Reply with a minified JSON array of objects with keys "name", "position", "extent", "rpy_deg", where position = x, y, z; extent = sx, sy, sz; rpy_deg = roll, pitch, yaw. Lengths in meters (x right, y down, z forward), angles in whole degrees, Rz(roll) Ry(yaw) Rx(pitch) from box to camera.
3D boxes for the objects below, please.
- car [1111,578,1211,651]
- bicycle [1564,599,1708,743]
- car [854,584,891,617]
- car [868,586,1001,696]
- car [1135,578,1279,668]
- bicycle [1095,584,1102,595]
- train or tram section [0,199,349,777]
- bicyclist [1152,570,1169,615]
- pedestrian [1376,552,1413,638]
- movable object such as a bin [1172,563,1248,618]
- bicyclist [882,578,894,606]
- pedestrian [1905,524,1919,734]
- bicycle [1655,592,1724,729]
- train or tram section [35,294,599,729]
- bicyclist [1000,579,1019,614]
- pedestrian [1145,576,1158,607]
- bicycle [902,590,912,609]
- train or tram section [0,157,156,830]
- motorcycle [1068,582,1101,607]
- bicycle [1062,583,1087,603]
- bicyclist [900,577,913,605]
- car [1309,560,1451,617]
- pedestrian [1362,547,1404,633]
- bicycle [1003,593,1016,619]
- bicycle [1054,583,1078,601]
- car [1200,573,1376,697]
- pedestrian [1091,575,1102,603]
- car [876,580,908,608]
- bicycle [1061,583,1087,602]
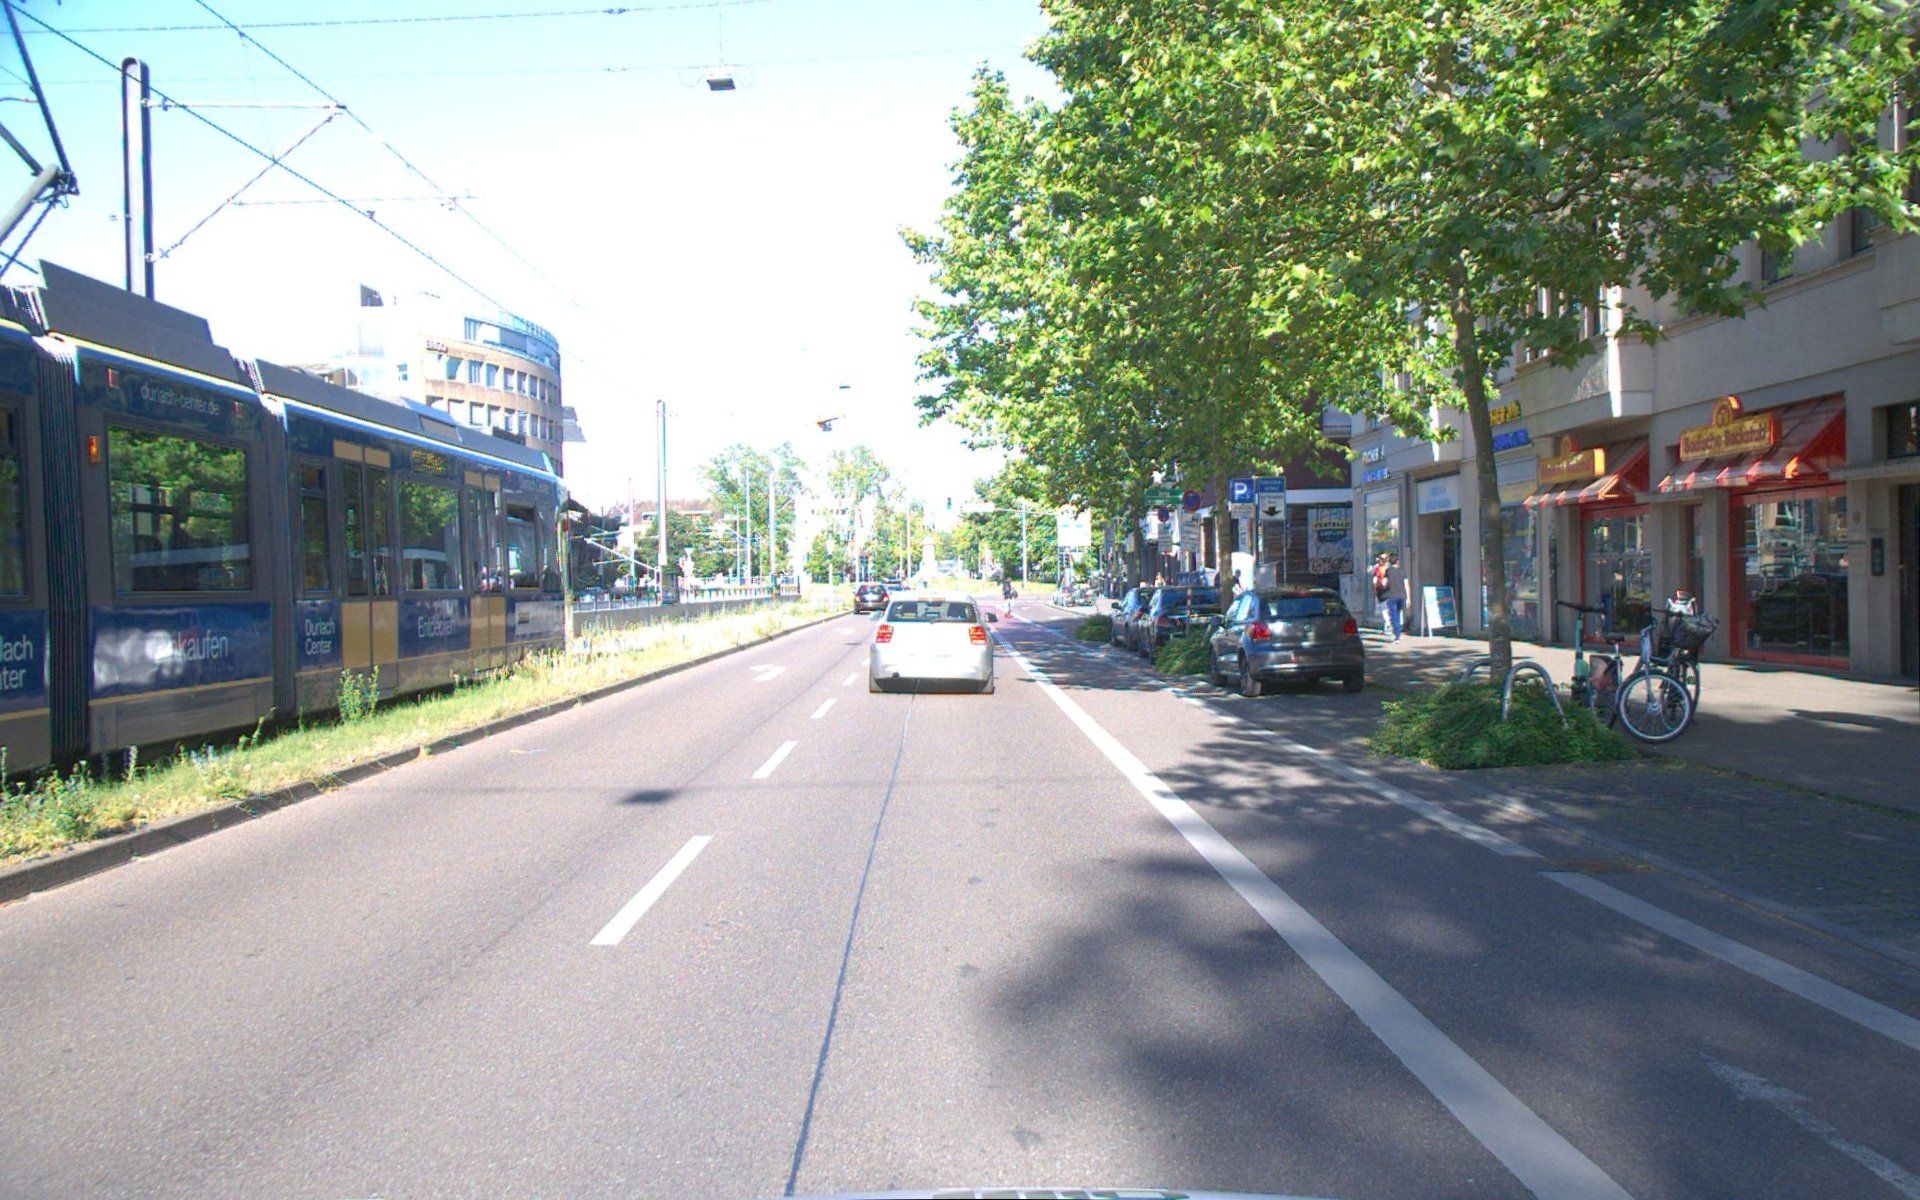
[{"name":"car","position":[4.688,0.300,39.115],"extent":[1.753,1.582,4.435],"rpy_deg":[-1,0,-1]},{"name":"bicycle","position":[6.255,0.631,15.407],"extent":[0.384,1.236,1.901],"rpy_deg":[-2,-1,-4]},{"name":"car","position":[-4.200,0.004,79.344],"extent":[1.692,1.496,4.408],"rpy_deg":[-1,0,-3]},{"name":"car","position":[-0.387,0.537,24.226],"extent":[1.761,1.439,3.999],"rpy_deg":[-1,0,-1]},{"name":"car","position":[4.600,0.373,31.453],"extent":[1.997,1.535,4.593],"rpy_deg":[-1,1,-1]},{"name":"bicycle","position":[12.391,-0.952,148.432],"extent":[0.408,1.026,1.944],"rpy_deg":[1,0,-1]},{"name":"train or tram section","position":[-7.051,-0.796,13.282],"extent":[2.895,3.965,3.864],"rpy_deg":[1,0,-2]},{"name":"bicyclist","position":[7.738,-0.279,63.961],"extent":[0.588,1.719,0.598],"rpy_deg":[-1,1,10]},{"name":"pedestrian","position":[8.982,-0.105,34.211],"extent":[0.546,1.740,0.770],"rpy_deg":[-1,0,-1]},{"name":"movable object such as a bin","position":[9.145,-0.383,60.746],"extent":[1.908,1.875,3.476],"rpy_deg":[-1,2,-6]},{"name":"bicyclist","position":[-4.044,-0.444,92.822],"extent":[0.604,1.599,0.686],"rpy_deg":[1,0,1]},{"name":"pedestrian","position":[8.336,0.229,13.337],"extent":[0.842,1.734,0.916],"rpy_deg":[-2,0,-3]},{"name":"bicycle","position":[7.028,0.550,15.973],"extent":[0.377,1.228,1.874],"rpy_deg":[-1,1,17]},{"name":"train or tram section","position":[-7.090,-0.855,20.626],"extent":[2.892,3.965,10.801],"rpy_deg":[1,0,-1]},{"name":"bicyclist","position":[2.195,-0.162,73.220],"extent":[0.769,1.558,0.895],"rpy_deg":[1,0,-1]},{"name":"pedestrian","position":[9.843,-0.439,85.054],"extent":[0.561,1.610,0.556],"rpy_deg":[-1,0,-1]},{"name":"bicycle","position":[-2.983,-0.034,93.002],"extent":[0.332,1.075,1.774],"rpy_deg":[-1,0,-10]},{"name":"train or tram section","position":[-6.914,-0.582,4.228],"extent":[2.869,3.878,14.272],"rpy_deg":[1,0,-1]},{"name":"motorcycle","position":[6.946,-0.310,92.611],"extent":[1.816,1.323,0.652],"rpy_deg":[-1,0,2]},{"name":"bicycle","position":[6.690,-0.414,96.709],"extent":[1.435,1.086,0.257],"rpy_deg":[-2,0,1]},{"name":"bicyclist","position":[-2.990,-0.511,93.029],"extent":[0.606,1.599,0.684],"rpy_deg":[-1,0,-12]},{"name":"car","position":[13.953,-0.376,55.147],"extent":[4.211,1.819,1.995],"rpy_deg":[0,0,-1]},{"name":"pedestrian","position":[9.724,-0.233,38.029],"extent":[0.699,1.933,0.863],"rpy_deg":[-2,0,-1]},{"name":"bicycle","position":[2.170,0.252,73.118],"extent":[0.489,1.107,1.997],"rpy_deg":[1,0,-1]},{"name":"bicycle","position":[6.515,-0.499,102.114],"extent":[1.435,1.086,0.257],"rpy_deg":[-2,0,1]},{"name":"car","position":[4.639,0.436,23.862],"extent":[1.660,1.528,3.801],"rpy_deg":[-3,1,-1]},{"name":"pedestrian","position":[10.083,-0.795,122.307],"extent":[0.774,2.049,0.871],"rpy_deg":[1,0,6]},{"name":"car","position":[-3.578,-0.320,87.492],"extent":[1.611,1.446,4.000],"rpy_deg":[0,0,-1]},{"name":"bicycle","position":[6.687,-0.426,97.082],"extent":[1.435,1.086,0.257],"rpy_deg":[-2,0,1]}]
